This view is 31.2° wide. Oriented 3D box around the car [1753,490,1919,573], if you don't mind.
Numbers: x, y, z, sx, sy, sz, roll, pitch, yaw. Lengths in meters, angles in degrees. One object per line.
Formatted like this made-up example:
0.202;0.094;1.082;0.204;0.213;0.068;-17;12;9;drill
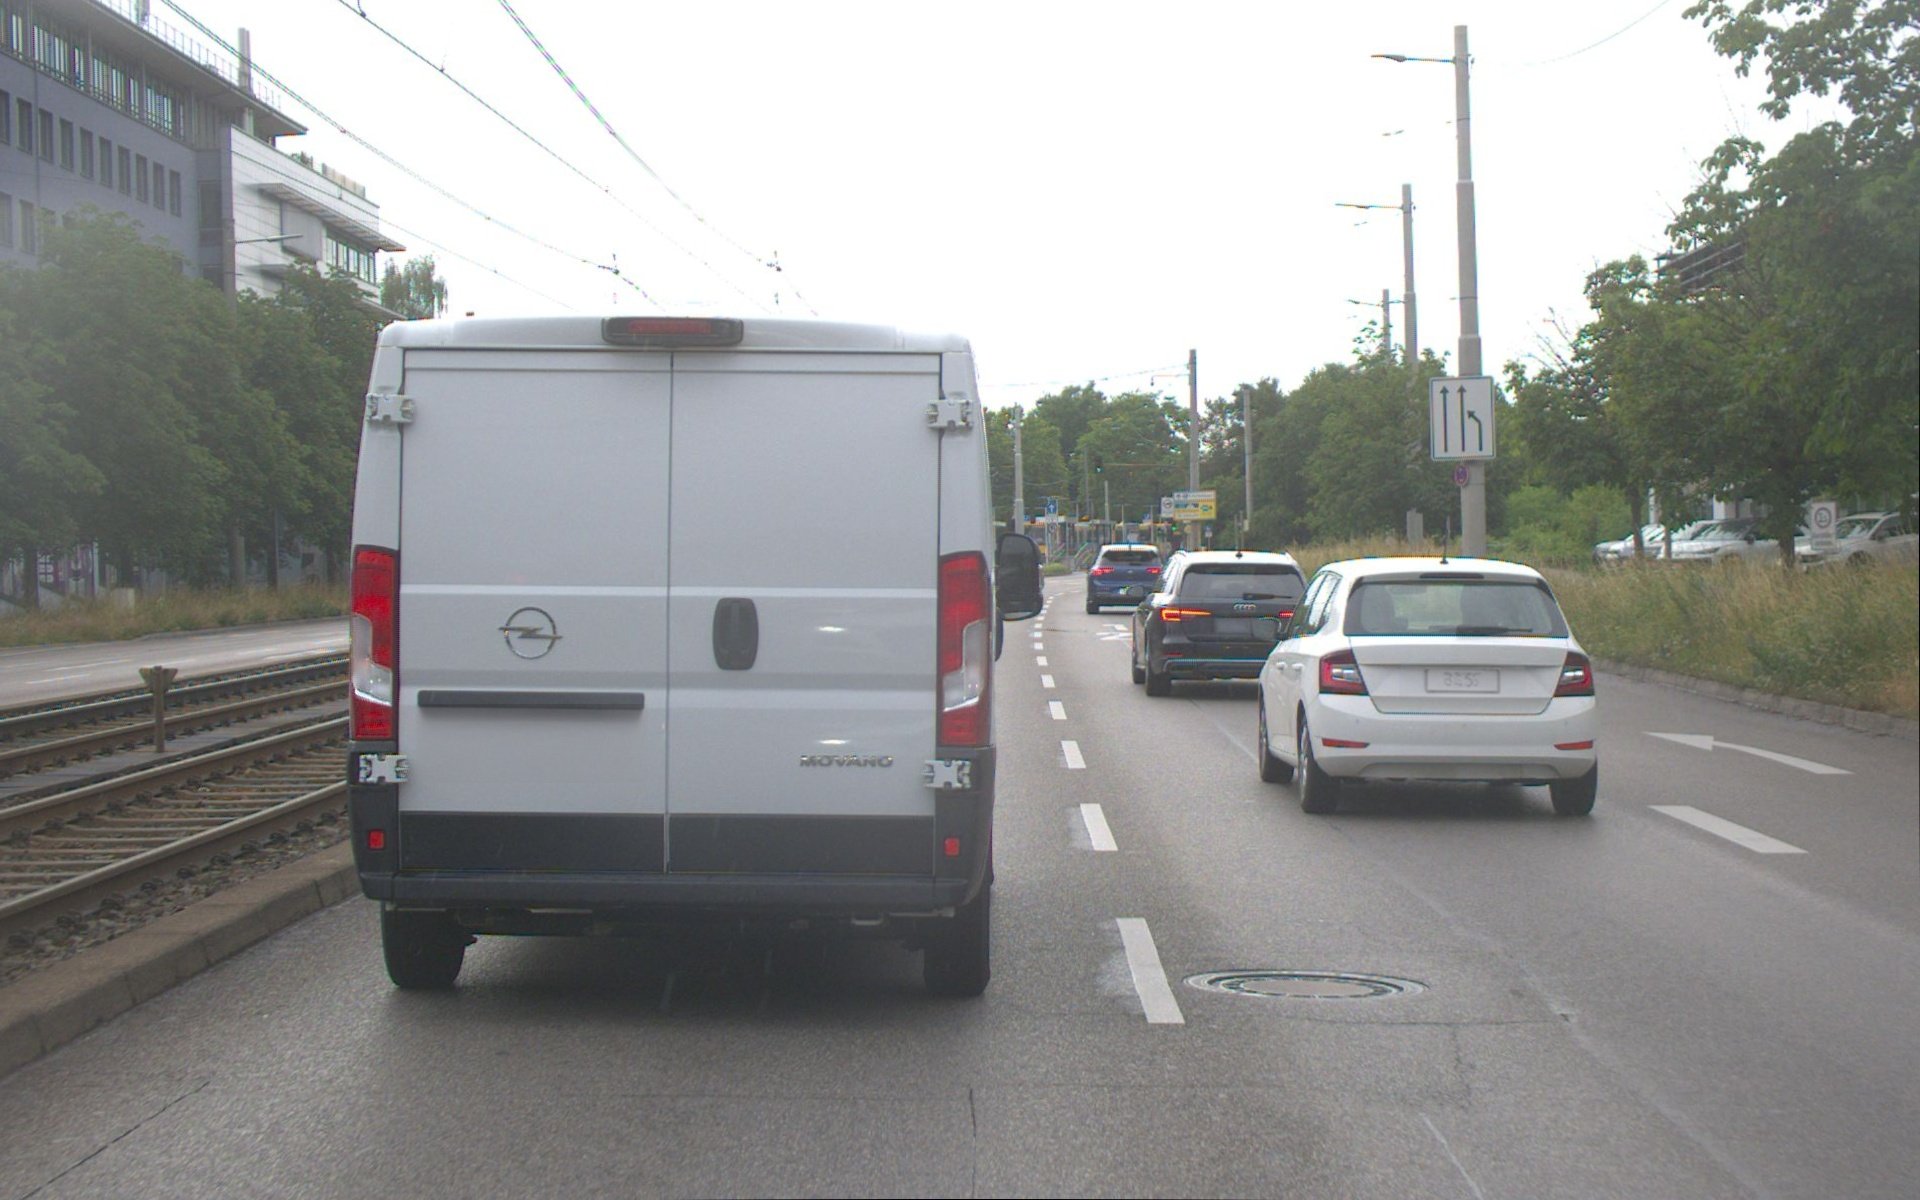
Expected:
17.951;-1.386;68.422;4.087;1.460;1.748;-3;0;-31;car

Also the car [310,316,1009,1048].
-0.876;0.215;12.922;2.090;2.189;5.061;1;1;1;car

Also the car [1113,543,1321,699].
2.503;0.168;34.335;1.789;1.444;4.000;0;1;0;car

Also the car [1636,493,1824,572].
17.446;-1.534;77.875;4.087;1.563;1.799;-3;0;-35;car

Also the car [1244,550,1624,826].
2.737;0.454;20.599;1.746;1.452;3.671;1;1;0;car

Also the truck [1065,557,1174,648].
3.344;0.028;72.847;1.993;1.784;4.414;-2;1;-1;truck
